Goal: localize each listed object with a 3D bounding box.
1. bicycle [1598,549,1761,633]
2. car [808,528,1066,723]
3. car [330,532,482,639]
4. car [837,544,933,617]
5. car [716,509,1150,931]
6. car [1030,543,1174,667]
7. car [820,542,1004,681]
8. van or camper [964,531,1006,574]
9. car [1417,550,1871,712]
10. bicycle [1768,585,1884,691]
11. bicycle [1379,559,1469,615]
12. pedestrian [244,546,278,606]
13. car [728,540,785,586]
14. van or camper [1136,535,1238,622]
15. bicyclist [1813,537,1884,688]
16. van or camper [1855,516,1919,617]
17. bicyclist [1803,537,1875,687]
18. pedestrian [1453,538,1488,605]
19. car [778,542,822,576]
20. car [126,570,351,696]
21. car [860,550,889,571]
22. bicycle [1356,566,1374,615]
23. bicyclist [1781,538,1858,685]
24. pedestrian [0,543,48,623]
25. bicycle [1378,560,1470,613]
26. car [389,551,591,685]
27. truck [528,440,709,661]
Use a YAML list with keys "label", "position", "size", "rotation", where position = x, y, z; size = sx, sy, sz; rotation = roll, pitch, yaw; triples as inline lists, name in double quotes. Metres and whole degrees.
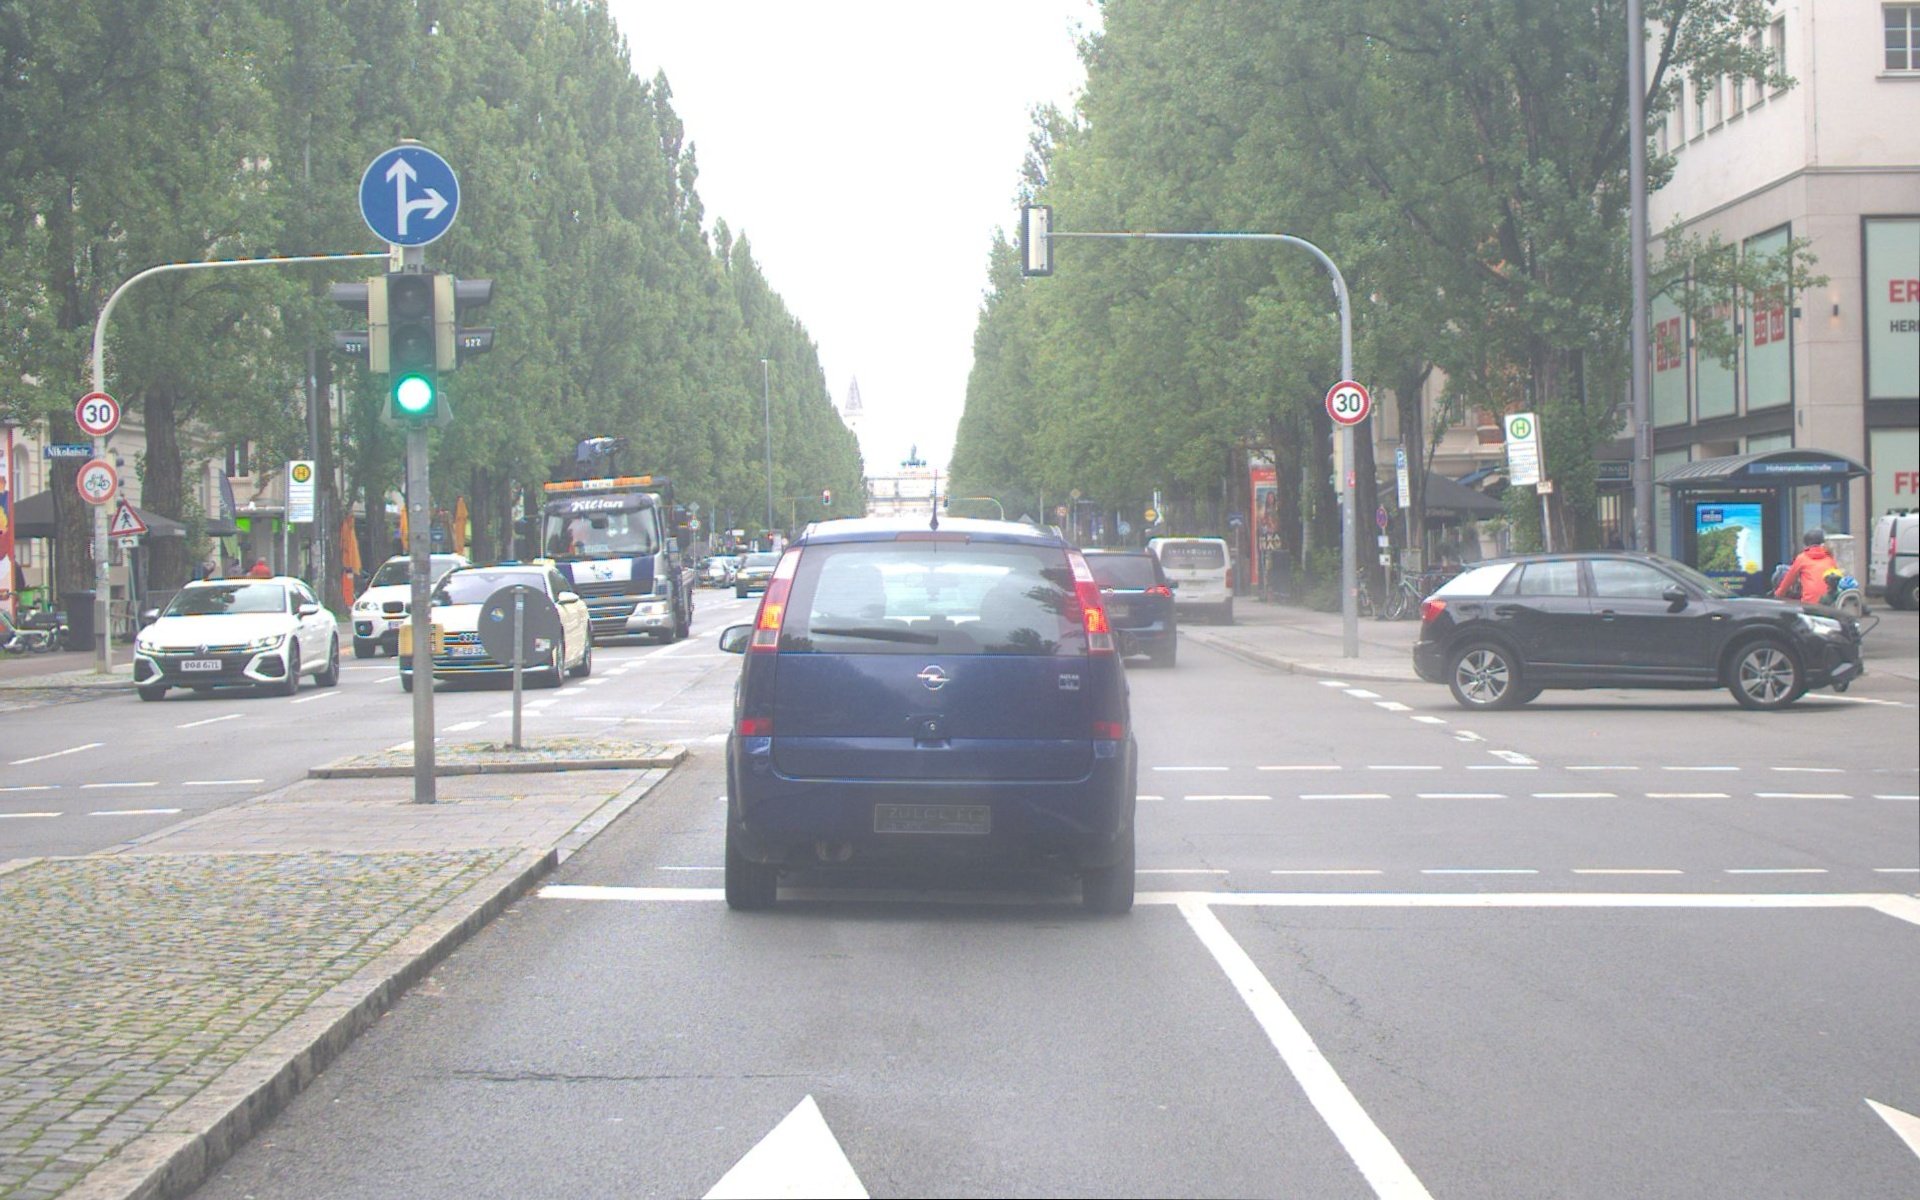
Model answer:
- label: "bicycle"
  position: [10.923, -0.140, 52.223]
  size: [2.343, 1.248, 0.633]
  rotation: [-1, 1, -1]
- label: "car"
  position: [-0.233, 0.167, 28.924]
  size: [1.993, 1.492, 4.000]
  rotation: [-1, 1, -2]
- label: "car"
  position: [-9.436, -0.264, 58.867]
  size: [1.837, 1.710, 4.636]
  rotation: [-2, 1, 0]
- label: "car"
  position: [-1.629, -0.445, 73.878]
  size: [1.993, 1.492, 4.000]
  rotation: [-1, 1, -2]
- label: "car"
  position: [-0.161, 0.433, 15.330]
  size: [1.681, 1.635, 4.000]
  rotation: [0, 1, -2]
- label: "car"
  position: [1.911, 0.029, 47.405]
  size: [1.706, 1.568, 4.001]
  rotation: [-1, 1, -1]
- label: "car"
  position: [-0.577, 0.092, 39.544]
  size: [1.993, 1.492, 4.000]
  rotation: [-1, 1, -2]
- label: "van or camper"
  position: [1.523, -2.959, 213.579]
  size: [2.476, 2.572, 5.844]
  rotation: [-1, 1, 0]
- label: "car"
  position: [6.513, 0.287, 32.702]
  size: [3.991, 1.456, 1.757]
  rotation: [-1, 1, 20]
- label: "bicycle"
  position: [9.407, 0.396, 37.413]
  size: [0.626, 1.083, 2.264]
  rotation: [-1, 1, -1]
- label: "bicycle"
  position: [9.480, -0.272, 70.243]
  size: [1.737, 1.106, 0.448]
  rotation: [-1, 1, -10]
- label: "pedestrian"
  position: [-19.752, -0.678, 97.173]
  size: [0.734, 1.667, 0.952]
  rotation: [-1, 1, -1]
- label: "car"
  position: [-7.641, -1.400, 129.529]
  size: [1.913, 1.675, 4.586]
  rotation: [-1, 1, -1]
- label: "van or camper"
  position: [5.054, -0.503, 77.077]
  size: [1.868, 1.876, 4.903]
  rotation: [0, 1, -1]
- label: "bicyclist"
  position: [9.428, 0.128, 36.476]
  size: [0.621, 1.583, 0.391]
  rotation: [-1, 1, -1]
- label: "van or camper"
  position: [18.951, -0.605, 64.023]
  size: [4.105, 1.860, 1.898]
  rotation: [1, 0, 3]
- label: "bicyclist"
  position: [9.411, 0.125, 36.822]
  size: [0.621, 1.583, 0.481]
  rotation: [-1, 1, -1]
- label: "pedestrian"
  position: [14.205, -0.790, 95.656]
  size: [0.826, 1.834, 1.099]
  rotation: [-1, 1, 2]
- label: "car"
  position: [-7.694, -1.977, 165.478]
  size: [1.935, 1.618, 4.337]
  rotation: [-1, 1, -1]
- label: "car"
  position: [-8.787, 0.360, 42.254]
  size: [1.823, 1.403, 4.633]
  rotation: [-2, 1, -1]
- label: "car"
  position: [-5.876, -2.731, 236.295]
  size: [1.961, 1.395, 3.779]
  rotation: [-1, 1, -1]
- label: "bicycle"
  position: [8.870, -0.215, 75.292]
  size: [0.364, 1.034, 1.730]
  rotation: [-1, 1, 7]
- label: "bicyclist"
  position: [9.395, 0.119, 37.605]
  size: [0.621, 1.583, 0.753]
  rotation: [-1, 1, -1]
- label: "pedestrian"
  position: [-20.523, -0.368, 75.291]
  size: [0.843, 1.738, 0.954]
  rotation: [1, 0, 0]
- label: "bicycle"
  position: [9.361, -0.269, 69.407]
  size: [1.757, 1.040, 0.484]
  rotation: [-1, 1, -10]
- label: "car"
  position: [-5.714, 0.177, 42.339]
  size: [1.843, 1.496, 4.986]
  rotation: [-2, 1, -1]
- label: "truck"
  position: [-6.033, -0.897, 61.816]
  size: [2.463, 3.657, 8.440]
  rotation: [-1, 1, -1]
